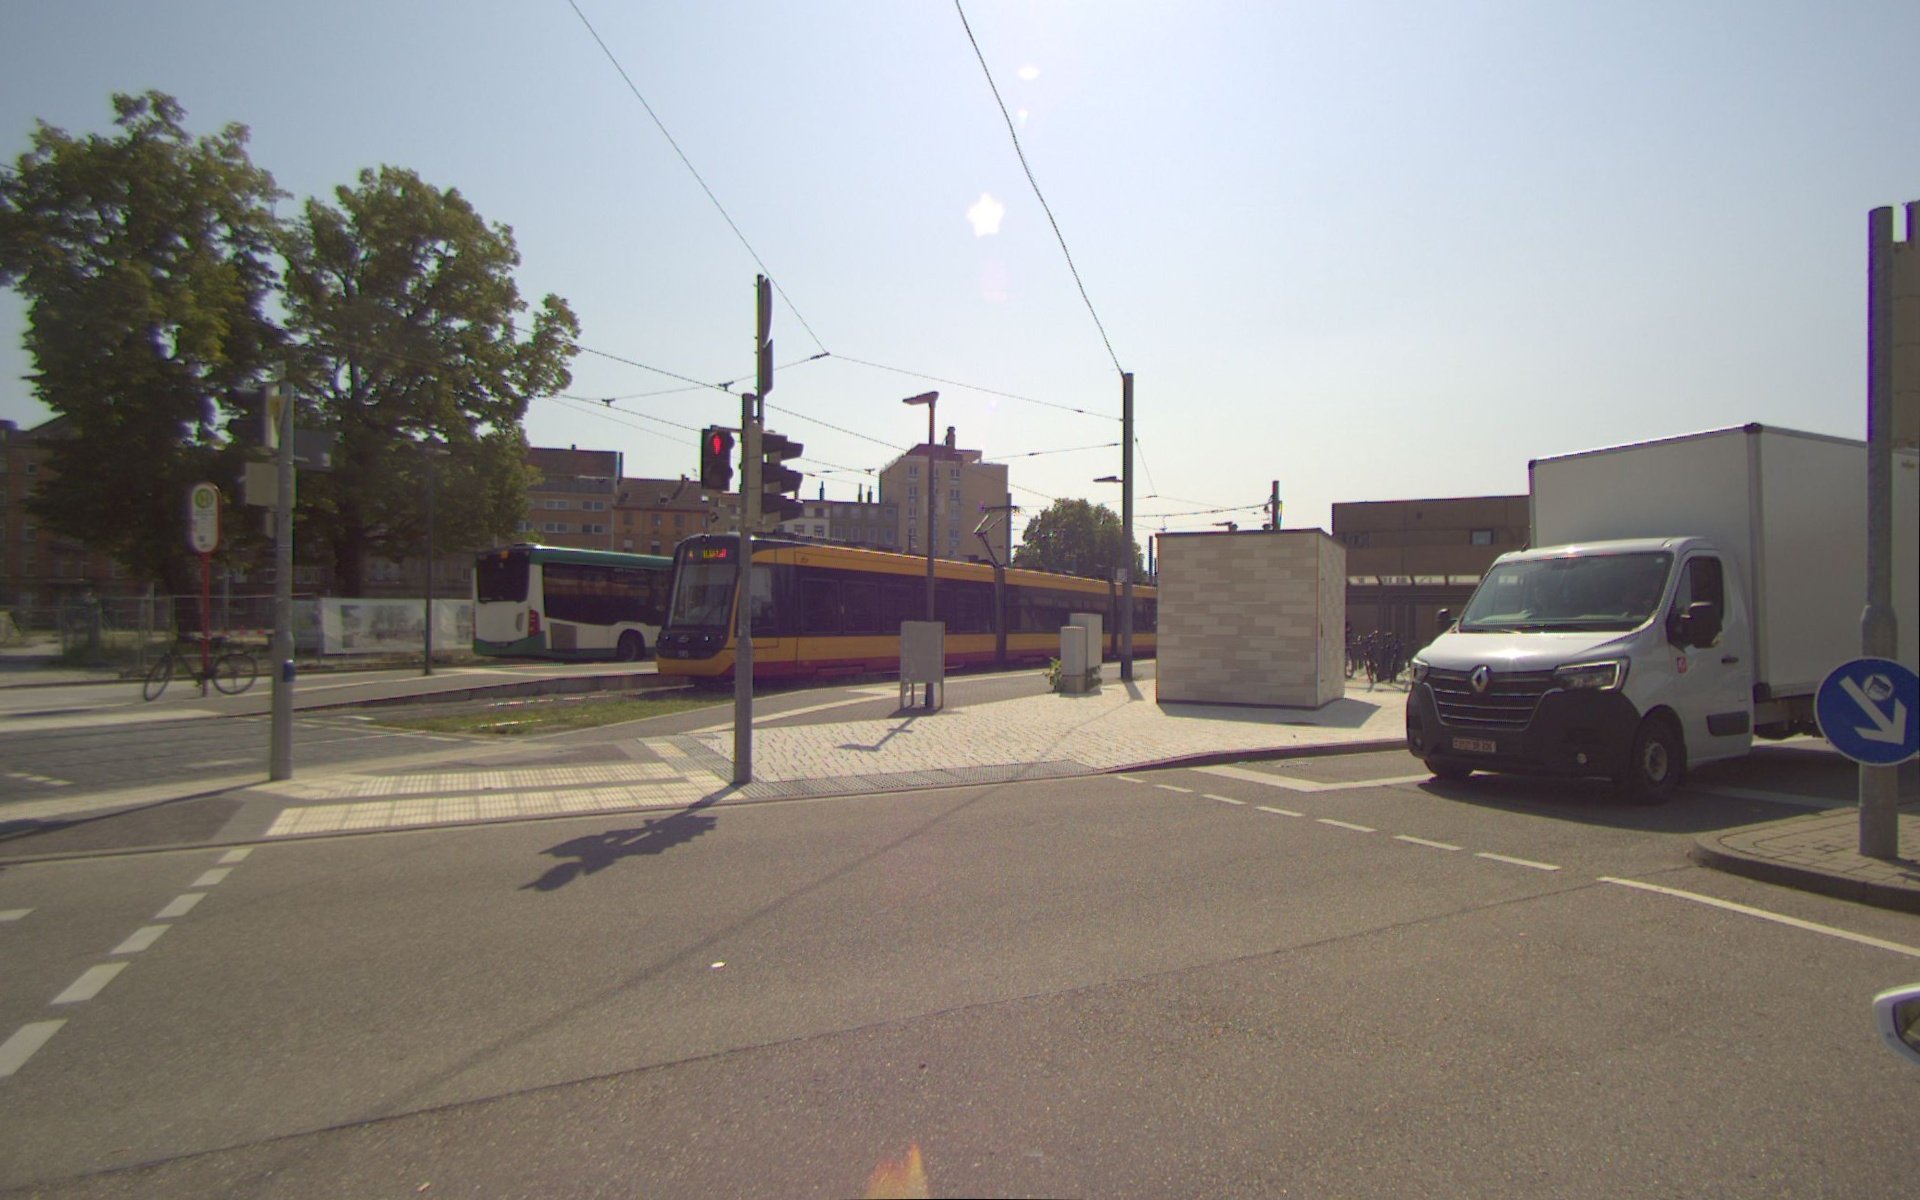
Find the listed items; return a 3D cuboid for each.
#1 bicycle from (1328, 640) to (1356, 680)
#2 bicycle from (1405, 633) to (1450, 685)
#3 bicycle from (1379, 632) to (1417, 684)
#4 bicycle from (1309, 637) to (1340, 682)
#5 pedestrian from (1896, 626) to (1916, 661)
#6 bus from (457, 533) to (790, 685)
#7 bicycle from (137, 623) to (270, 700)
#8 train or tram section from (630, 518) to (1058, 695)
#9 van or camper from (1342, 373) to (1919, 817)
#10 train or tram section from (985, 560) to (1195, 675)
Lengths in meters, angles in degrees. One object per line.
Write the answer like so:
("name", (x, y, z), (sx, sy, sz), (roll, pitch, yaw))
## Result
("bicycle", (10.329, 1.592, 27.135), (0.457, 1.016, 1.757), (1, -1, 29))
("bicycle", (11.395, 1.413, 24.454), (0.596, 1.227, 1.803), (0, -1, 38))
("bicycle", (10.830, 1.408, 24.837), (0.532, 1.227, 1.607), (0, -1, 36))
("bicycle", (9.217, 1.476, 25.385), (0.457, 1.077, 1.691), (1, -1, 29))
("pedestrian", (43.234, 1.993, 45.894), (0.521, 1.573, 0.417), (0, -1, 17))
("bus", (-9.592, 0.342, 30.630), (2.912, 3.824, 10.584), (1, -1, 27))
("bicycle", (-12.857, 1.025, 17.124), (0.599, 1.239, 1.701), (0, -1, 31))
("train or tram section", (-1.789, 0.351, 28.879), (2.813, 3.595, 17.721), (1, -1, 27))
("van or camper", (7.349, 0.041, 10.349), (7.102, 3.350, 2.390), (1, -1, -29))
("train or tram section", (6.676, 0.858, 45.250), (2.843, 4.121, 19.115), (1, -1, 28))
